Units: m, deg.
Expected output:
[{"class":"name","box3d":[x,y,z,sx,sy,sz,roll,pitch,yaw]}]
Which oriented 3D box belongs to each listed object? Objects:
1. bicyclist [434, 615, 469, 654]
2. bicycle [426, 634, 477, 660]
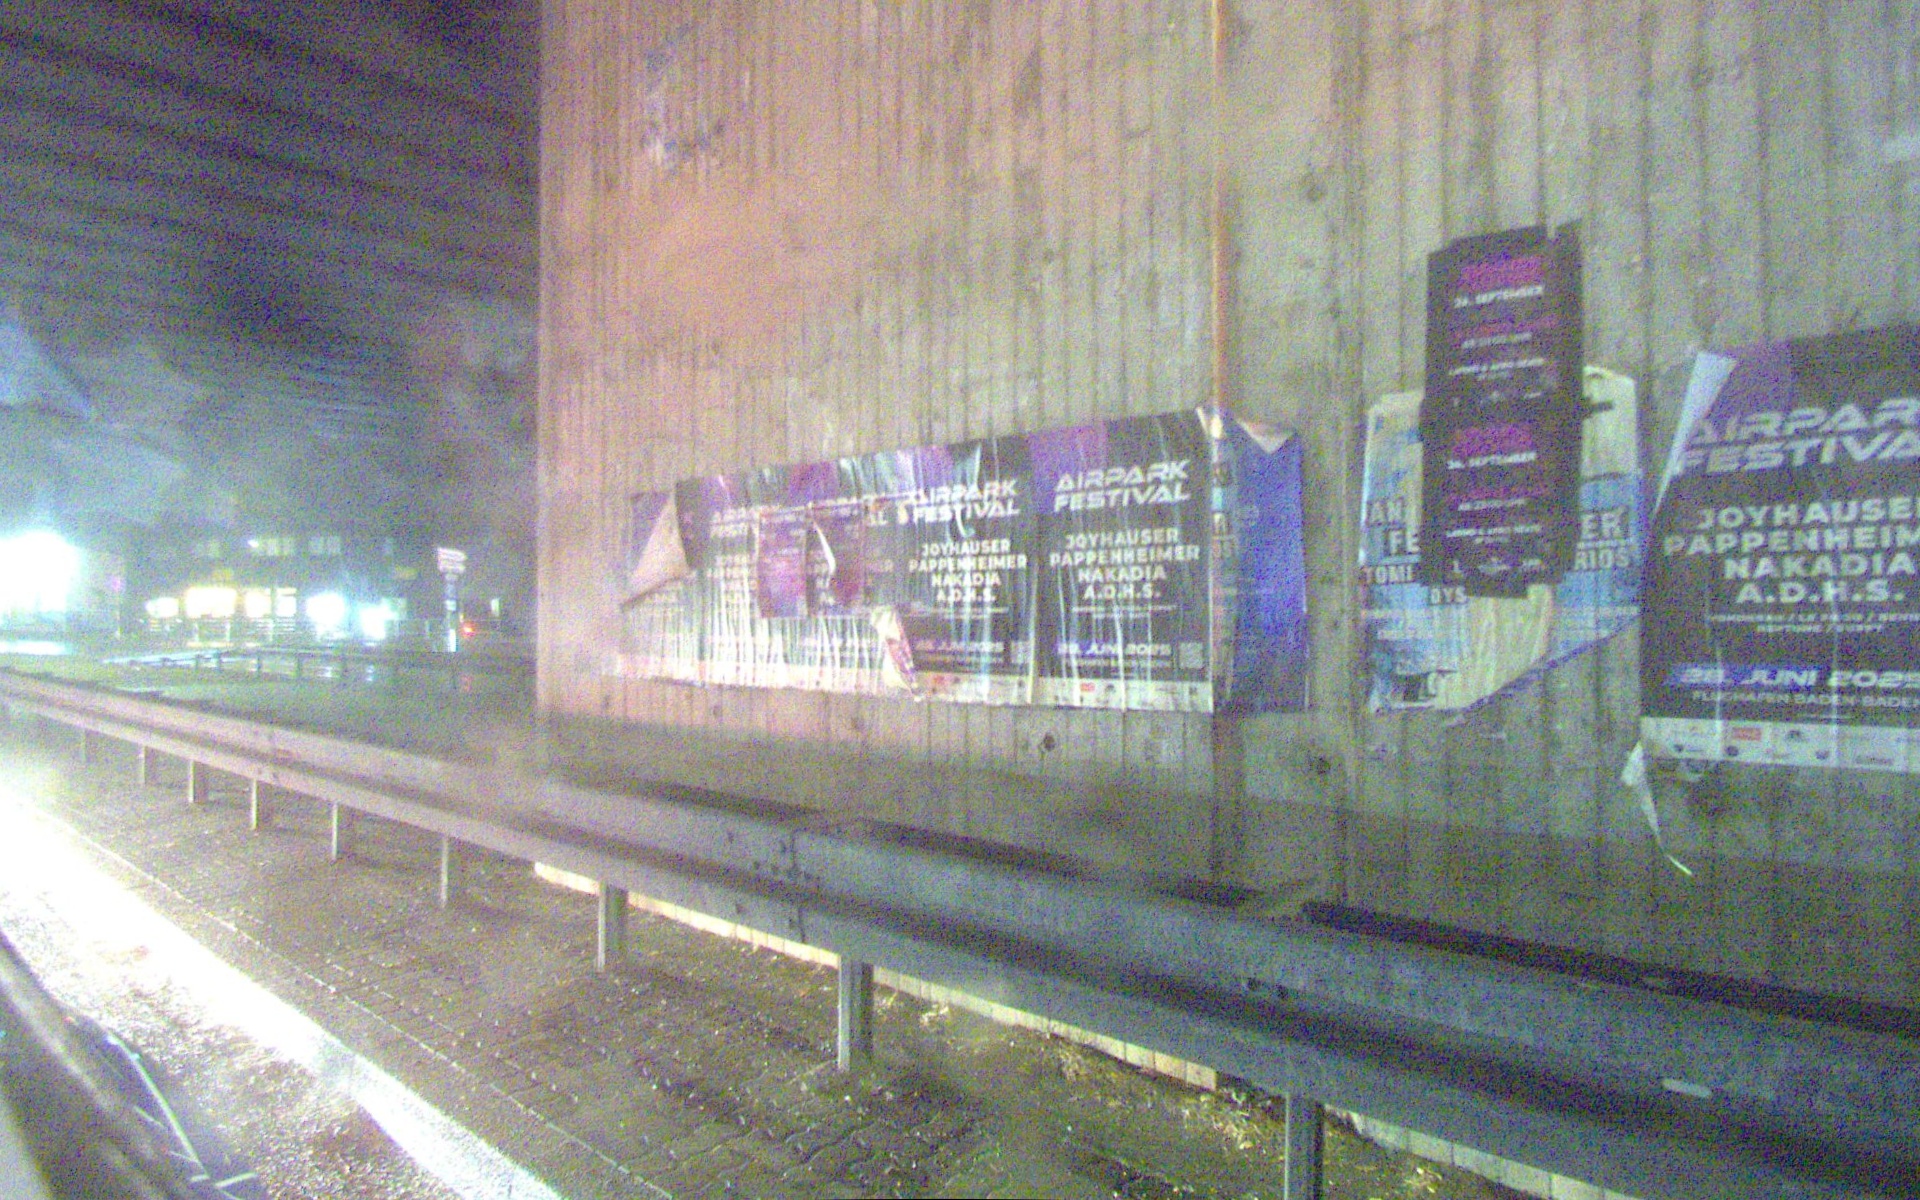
[{"class":"bicyclist","box3d":[-18.913,1.276,37.649,1.184,1.446,0.623,-1,-2,32]},{"class":"bicycle","box3d":[-18.906,1.726,37.631,2.206,0.912,0.622,-1,-2,32]}]
